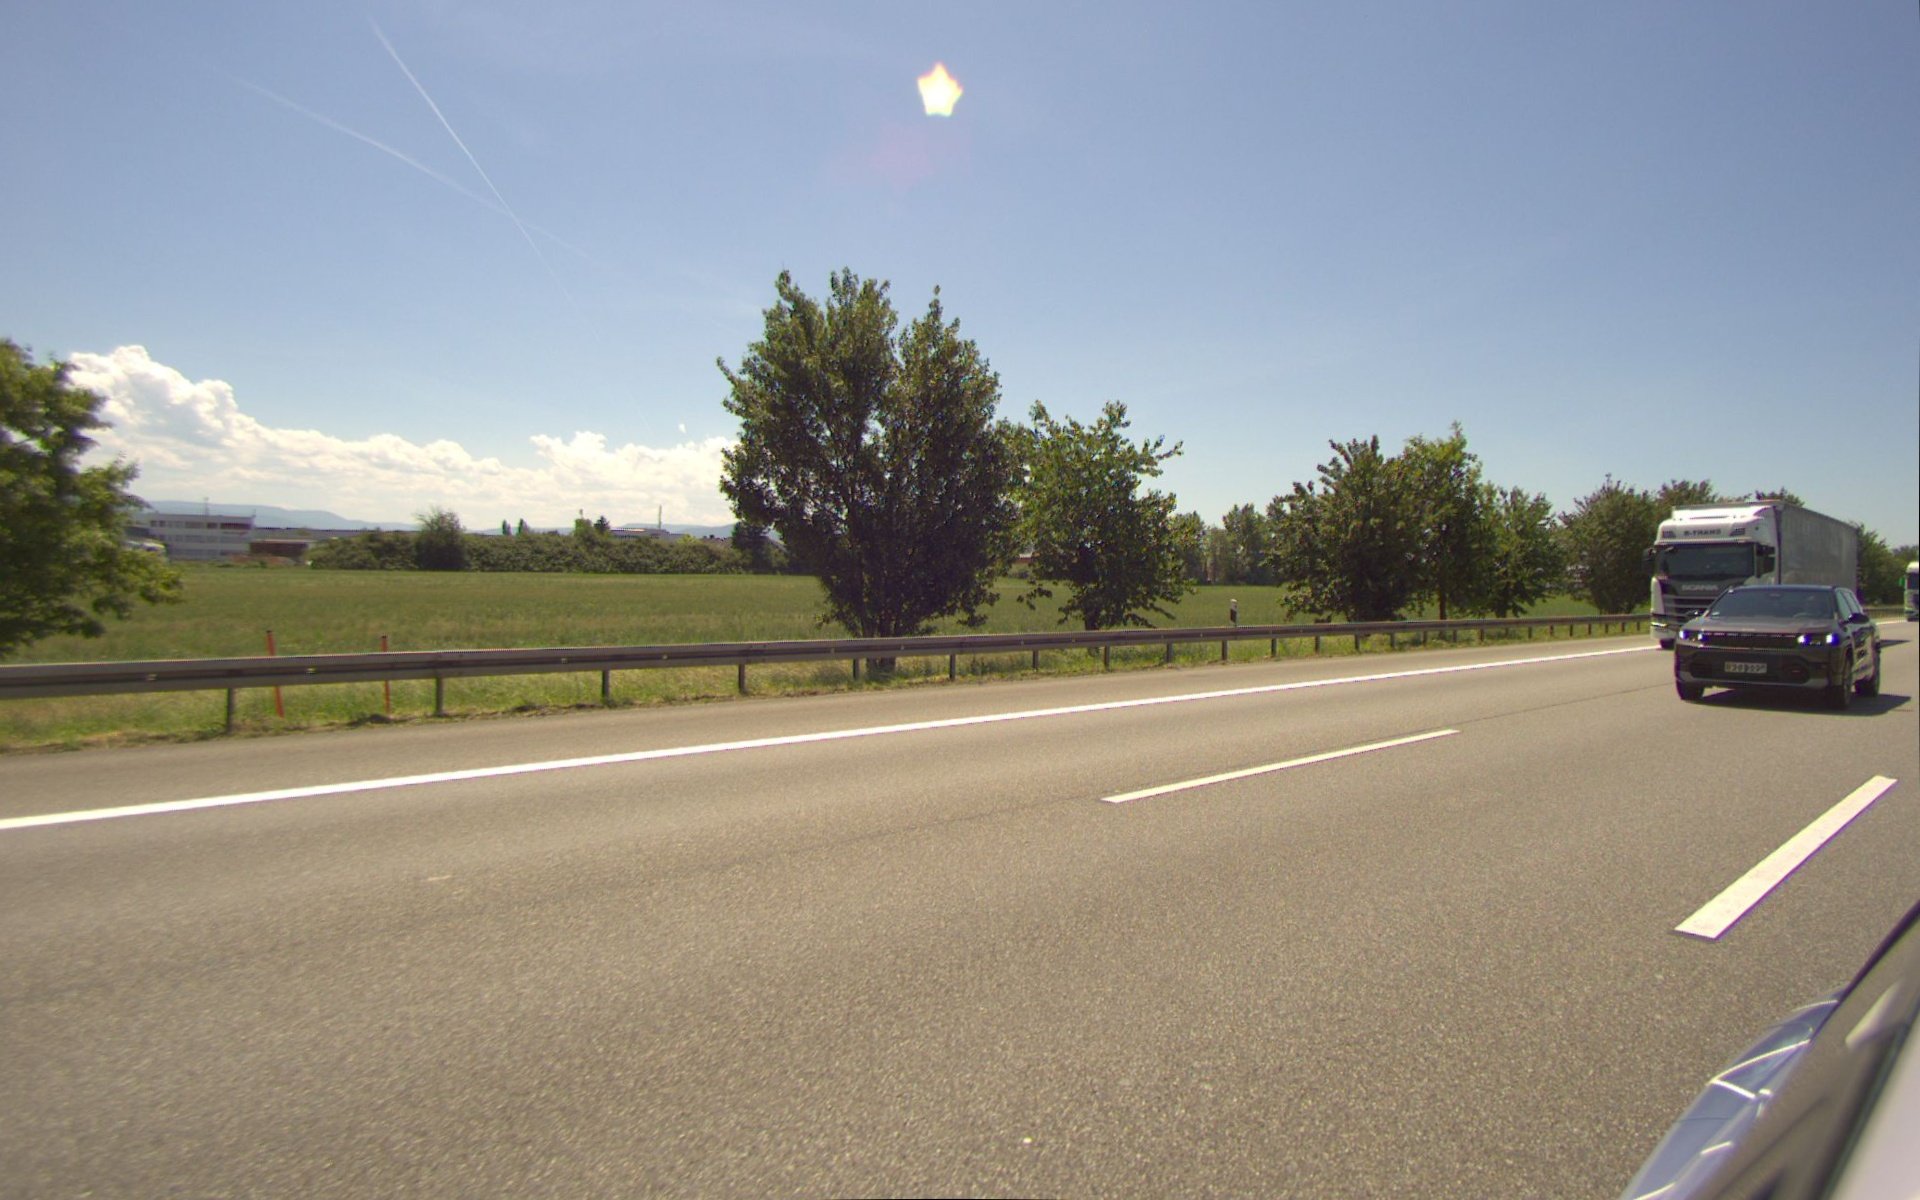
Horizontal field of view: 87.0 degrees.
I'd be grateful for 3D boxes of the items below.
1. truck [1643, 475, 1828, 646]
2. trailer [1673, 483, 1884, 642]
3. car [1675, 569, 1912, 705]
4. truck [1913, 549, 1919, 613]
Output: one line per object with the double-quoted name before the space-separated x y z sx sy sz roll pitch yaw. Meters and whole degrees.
"truck" 22.558 -1.044 29.299 7.065 4.359 2.815 0 0 -40
"trailer" 27.317 -1.086 33.339 14.001 4.359 2.815 0 0 -40
"car" 12.295 0.439 14.814 4.662 1.696 1.871 0 0 -40
"truck" 64.590 -1.202 65.849 7.562 4.016 2.700 0 0 -38
